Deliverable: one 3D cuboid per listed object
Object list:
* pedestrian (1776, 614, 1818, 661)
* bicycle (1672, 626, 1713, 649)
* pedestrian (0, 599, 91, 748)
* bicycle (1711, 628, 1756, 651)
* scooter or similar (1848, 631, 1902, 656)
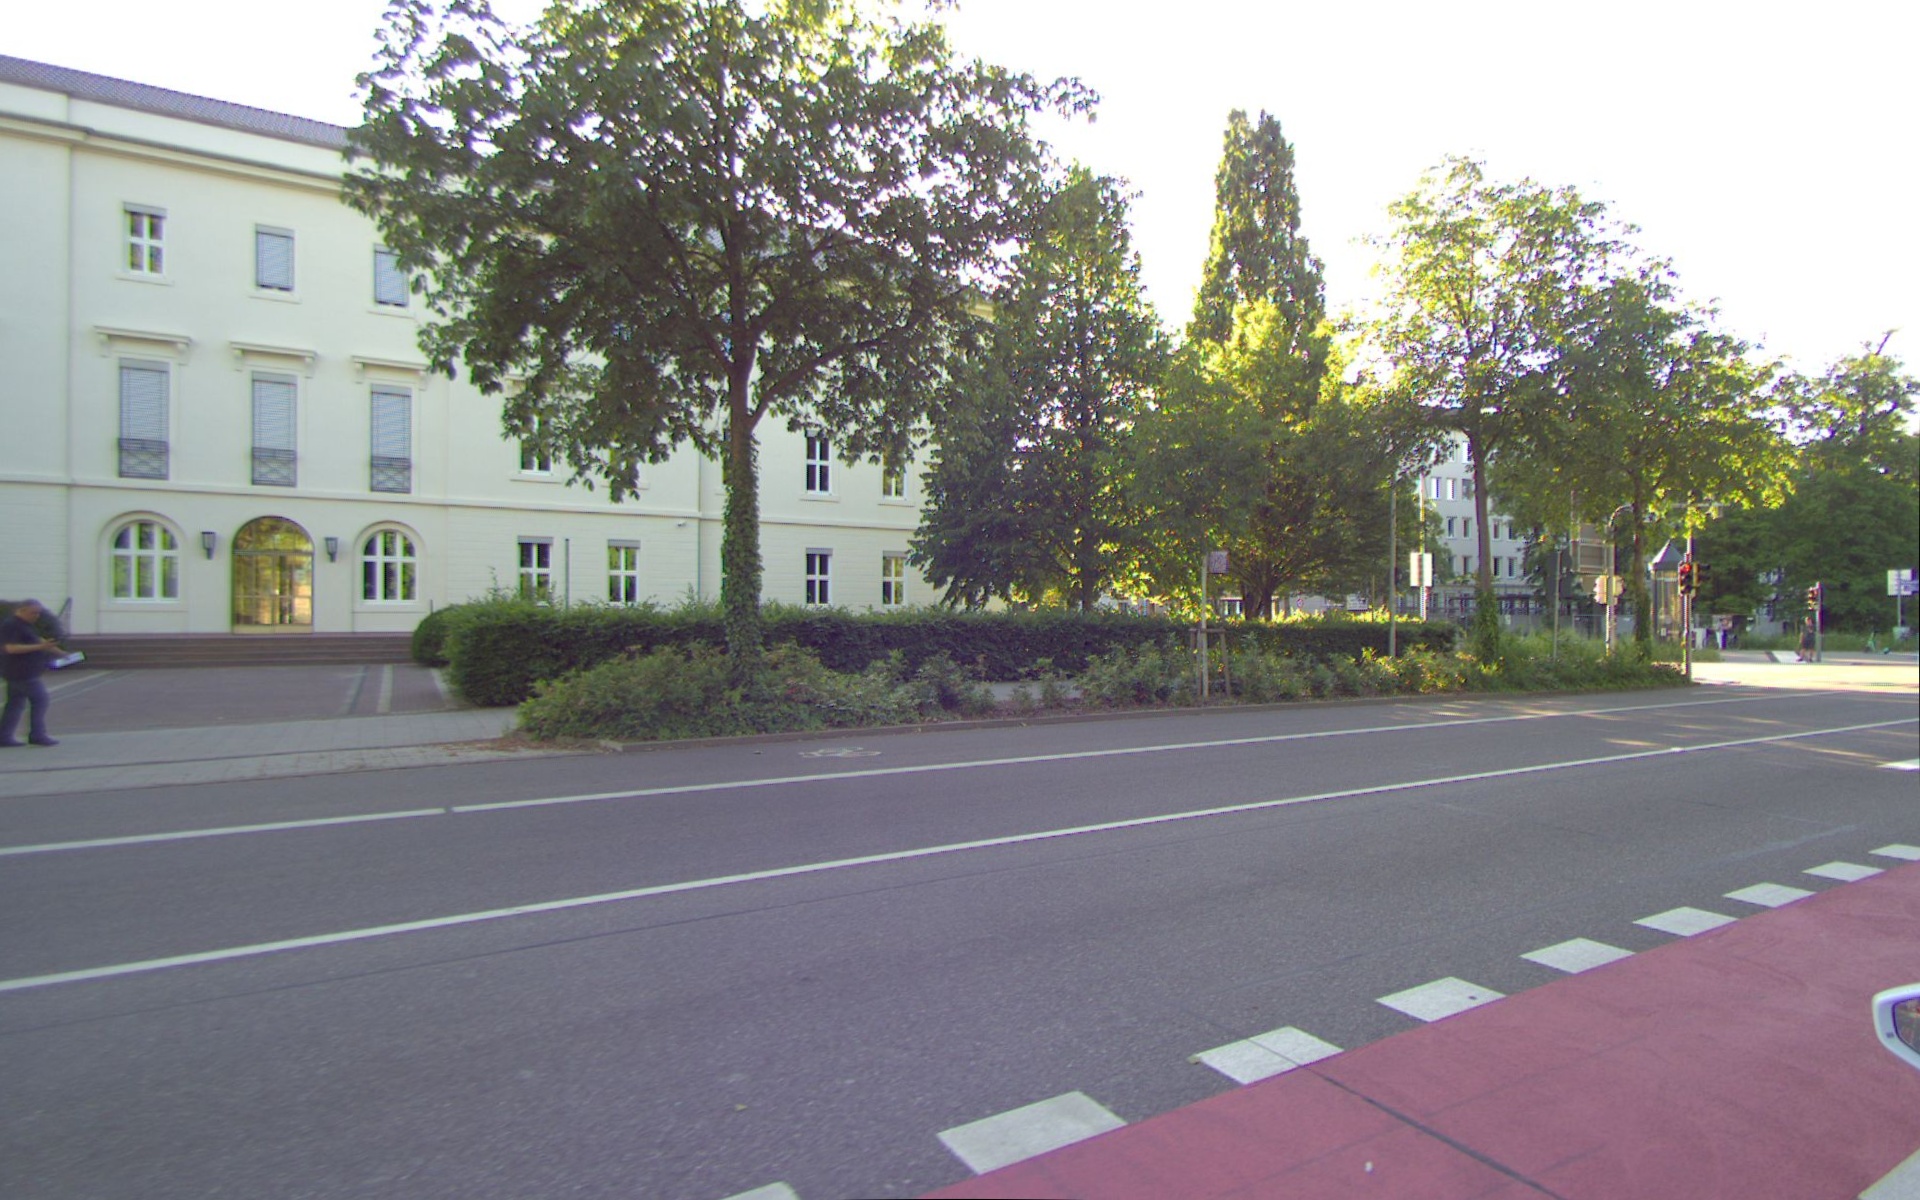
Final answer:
[{"bbox_3d":[37.009,1.664,44.433,1.174,2.040,0.992,1,0,-24],"label":"pedestrian"},{"bbox_3d":[39.635,2.033,54.357,0.436,1.163,1.860,1,0,-18],"label":"bicycle"},{"bbox_3d":[-11.288,0.876,12.249,0.959,1.743,0.829,1,-1,-36],"label":"pedestrian"},{"bbox_3d":[40.396,2.052,52.508,0.287,1.163,1.849,1,0,-35],"label":"bicycle"},{"bbox_3d":[44.508,2.116,48.878,1.882,1.139,0.713,1,0,3],"label":"scooter or similar"}]
